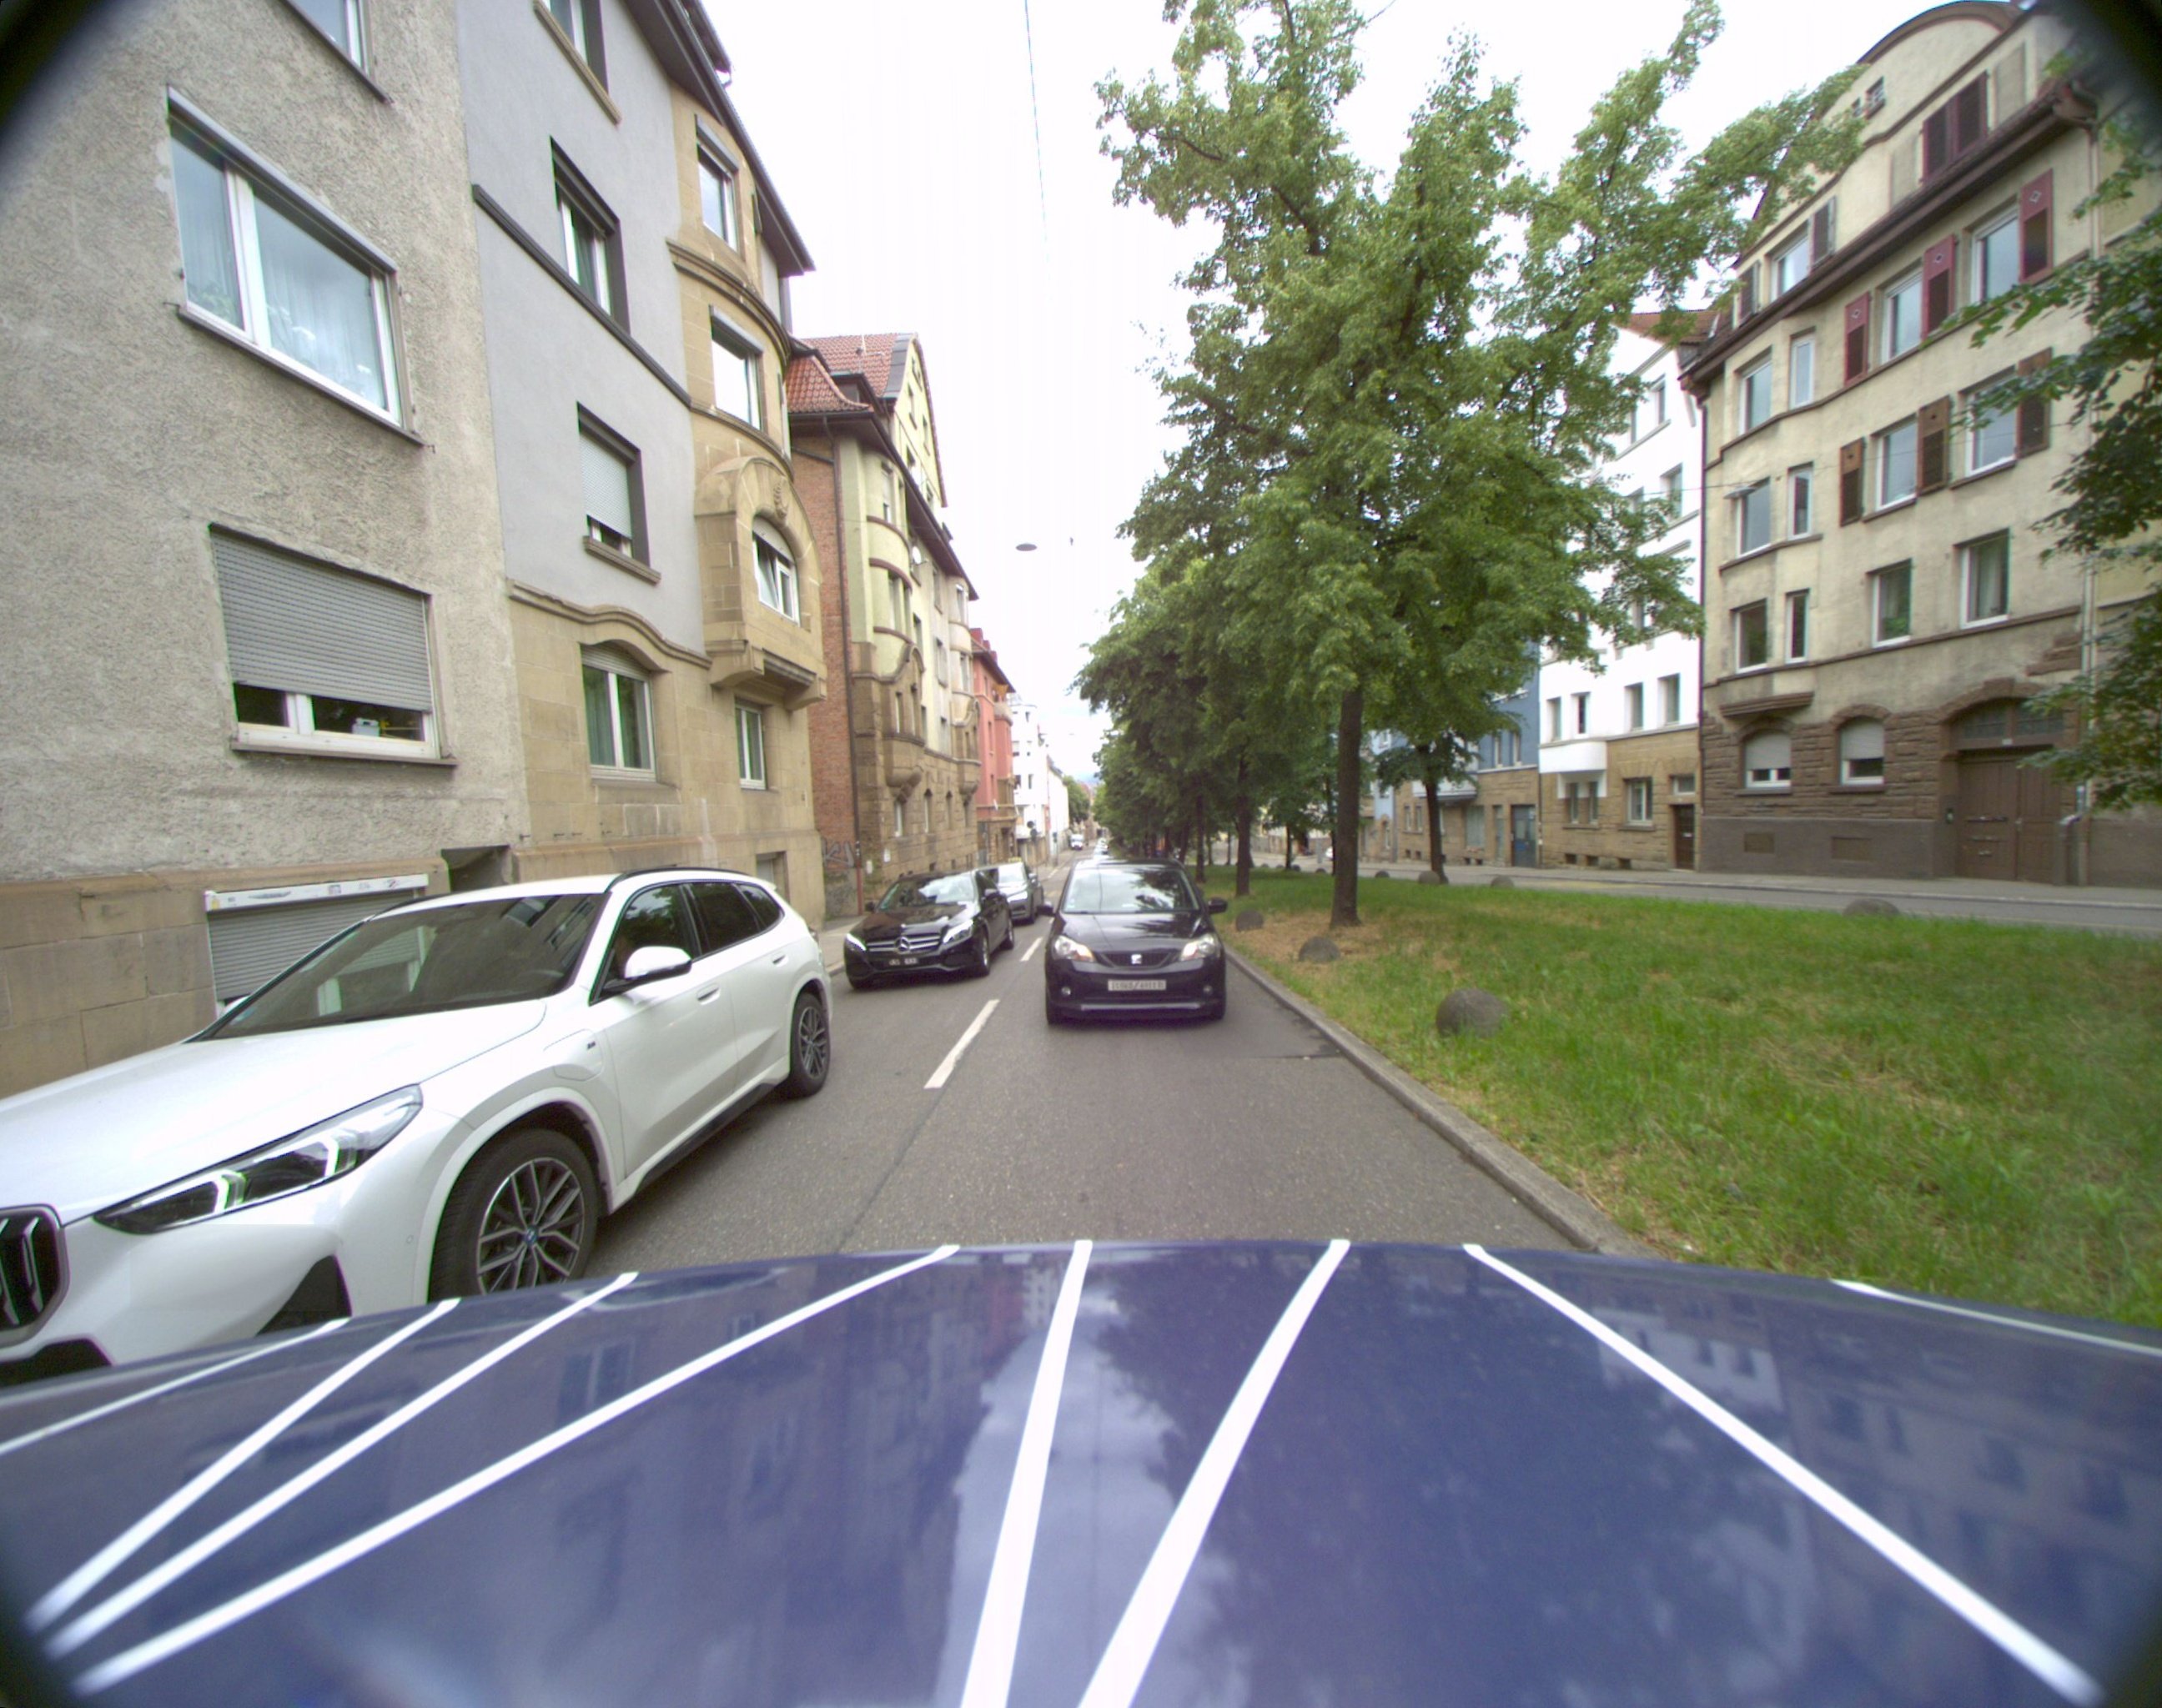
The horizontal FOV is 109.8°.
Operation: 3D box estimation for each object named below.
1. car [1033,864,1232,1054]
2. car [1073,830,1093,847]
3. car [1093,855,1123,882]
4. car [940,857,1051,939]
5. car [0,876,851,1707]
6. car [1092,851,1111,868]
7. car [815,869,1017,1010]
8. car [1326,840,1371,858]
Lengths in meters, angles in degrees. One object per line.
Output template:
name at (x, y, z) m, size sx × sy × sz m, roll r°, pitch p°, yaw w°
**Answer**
car at (0.438, 0.876, 7.816) m, size 1.611 × 1.457 × 3.296 m, roll 0°, pitch 1°, yaw 1°
car at (0.457, -2.795, 138.354) m, size 2.715 × 2.879 × 6.456 m, roll -2°, pitch 1°, yaw 8°
car at (1.568, 0.824, 45.463) m, size 1.664 × 1.456 × 3.580 m, roll -2°, pitch 1°, yaw 1°
car at (-1.943, 0.966, 18.593) m, size 1.936 × 1.506 × 4.303 m, roll -6°, pitch 1°, yaw 2°
car at (-2.807, 1.067, 3.729) m, size 1.859 × 1.547 × 4.350 m, roll -6°, pitch 1°, yaw 0°
car at (1.827, 0.489, 69.456) m, size 1.607 × 1.492 × 3.737 m, roll -2°, pitch 1°, yaw 1°
car at (-2.158, 1.070, 11.217) m, size 1.884 × 1.369 × 4.205 m, roll -6°, pitch 1°, yaw 1°
car at (22.200, -0.445, 63.103) m, size 3.291 × 1.323 × 1.672 m, roll -2°, pitch 1°, yaw 10°
